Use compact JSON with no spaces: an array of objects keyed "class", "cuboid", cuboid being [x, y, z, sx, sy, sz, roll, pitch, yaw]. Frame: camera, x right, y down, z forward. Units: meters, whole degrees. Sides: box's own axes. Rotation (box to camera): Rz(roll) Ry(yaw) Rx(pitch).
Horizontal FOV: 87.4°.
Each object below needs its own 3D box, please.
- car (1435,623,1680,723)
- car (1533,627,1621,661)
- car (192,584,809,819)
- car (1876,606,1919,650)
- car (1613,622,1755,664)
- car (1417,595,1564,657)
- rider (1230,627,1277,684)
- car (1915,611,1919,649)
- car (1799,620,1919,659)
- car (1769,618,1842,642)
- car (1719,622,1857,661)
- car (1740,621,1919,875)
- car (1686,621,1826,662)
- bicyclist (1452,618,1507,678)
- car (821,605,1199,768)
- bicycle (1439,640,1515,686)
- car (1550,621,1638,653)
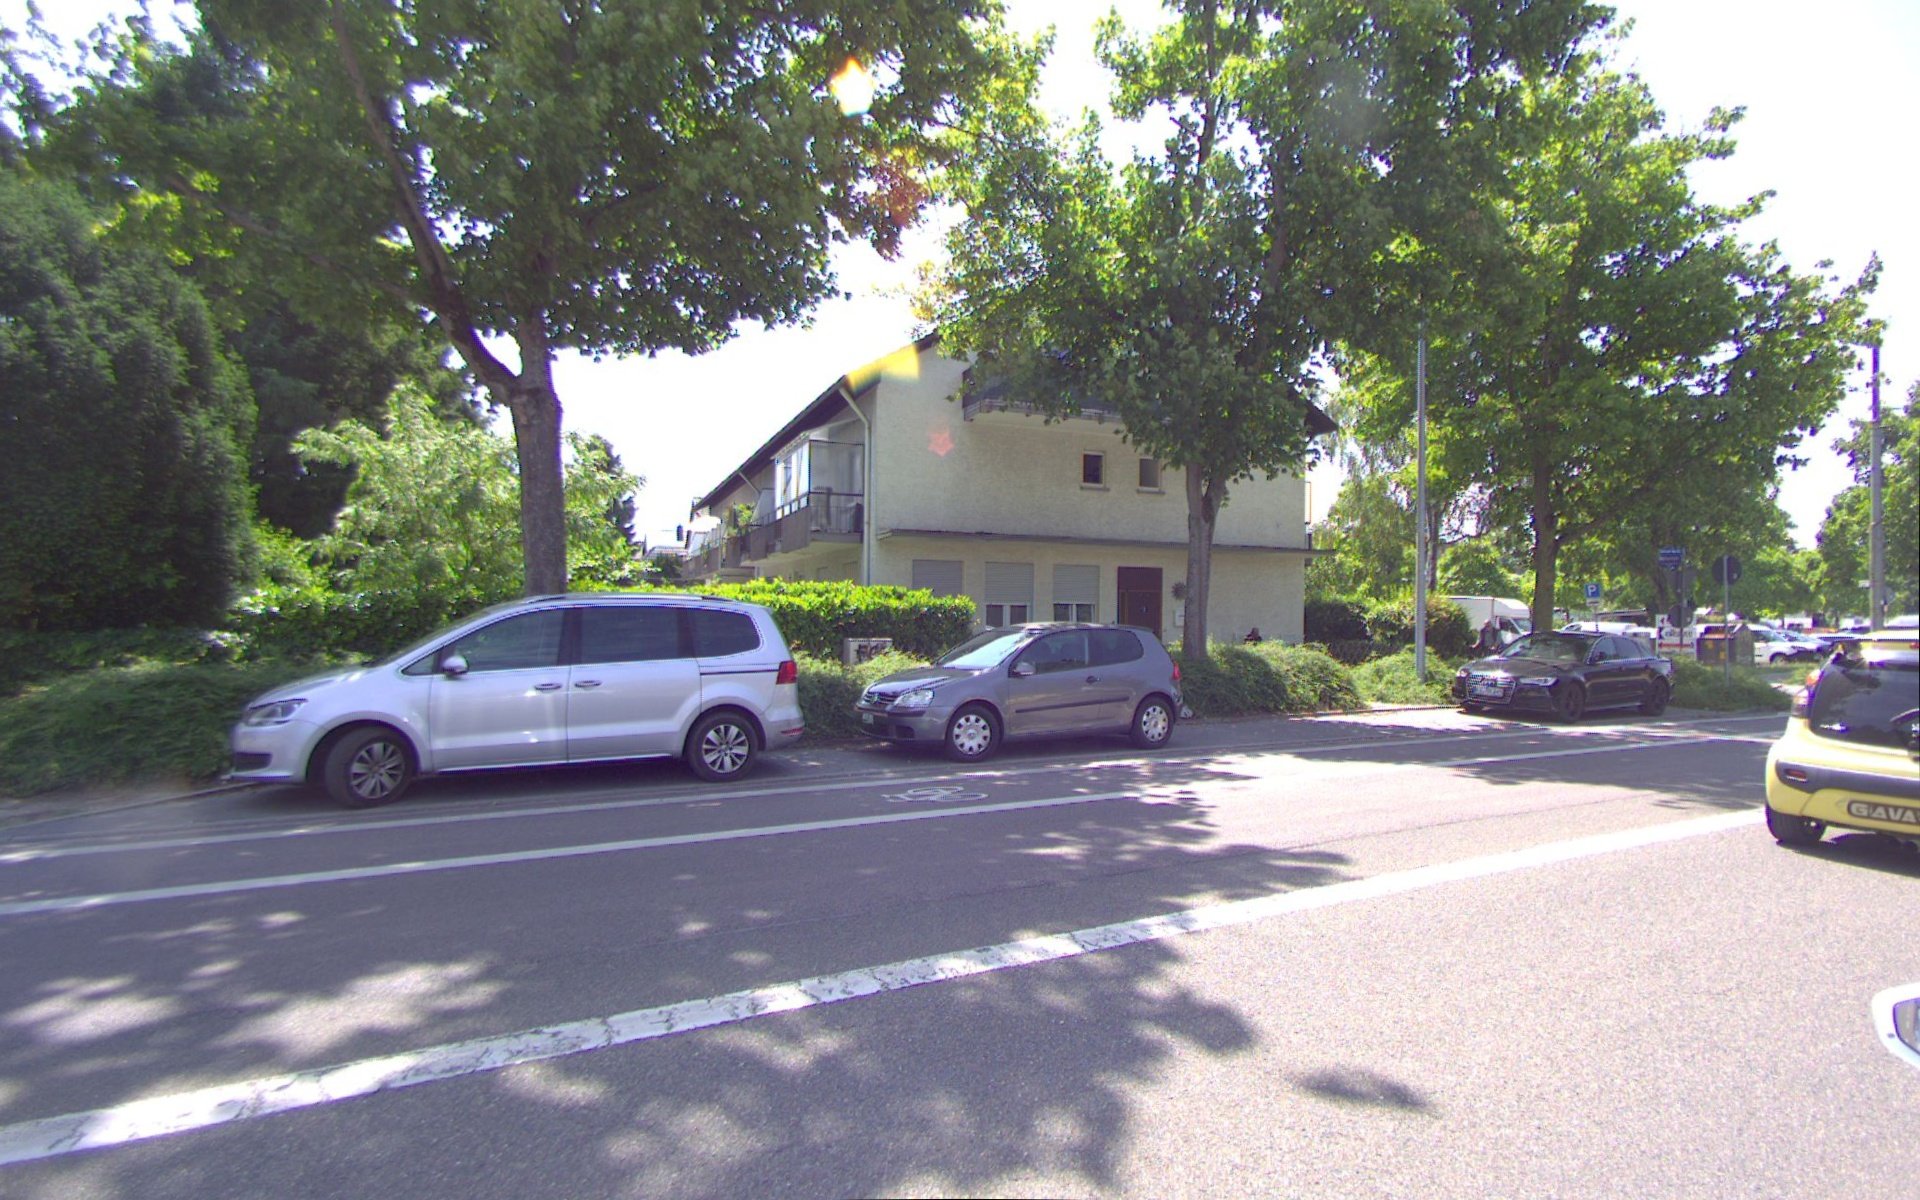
[{"class":"car","cuboid":[10.570,1.207,17.707,4.397,1.496,1.809,1,1,-31]},{"class":"car","cuboid":[35.538,2.497,57.927,1.799,1.675,3.957,2,1,-37]},{"class":"car","cuboid":[-3.947,0.754,9.243,4.725,1.687,1.863,1,0,-31]},{"class":"car","cuboid":[52.286,1.567,53.195,2.349,2.274,5.076,2,1,-28]},{"class":"car","cuboid":[29.377,1.714,40.900,1.891,1.606,4.321,1,-1,-31]},{"class":"car","cuboid":[28.765,1.343,54.799,2.337,3.005,6.816,2,1,-30]},{"class":"rider","cuboid":[7.377,1.376,25.268,0.800,1.392,0.824,1,-1,-22]},{"class":"car","cuboid":[58.865,1.874,57.852,2.349,2.274,5.076,2,1,-28]},{"class":"car","cuboid":[43.173,1.863,48.292,1.975,1.769,3.968,1,-1,-30]},{"class":"car","cuboid":[66.337,2.335,78.873,1.795,1.638,4.000,2,1,-30]},{"class":"car","cuboid":[36.352,1.782,44.228,1.886,1.606,4.333,1,-1,-23]},{"class":"car","cuboid":[7.008,0.896,6.709,3.475,1.430,1.682,1,1,-31]},{"class":"car","cuboid":[33.915,1.734,42.928,1.886,1.606,4.332,1,-1,-24]},{"class":"bicyclist","cuboid":[12.603,1.160,24.380,0.817,1.392,0.806,2,1,-27]},{"class":"car","cuboid":[0.637,0.902,11.849,4.132,1.585,1.809,1,1,-31]},{"class":"bicycle","cuboid":[12.543,1.519,24.362,1.805,1.043,0.698,2,1,-27]},{"class":"car","cuboid":[37.451,2.169,59.416,1.799,1.675,3.957,2,1,-37]}]
